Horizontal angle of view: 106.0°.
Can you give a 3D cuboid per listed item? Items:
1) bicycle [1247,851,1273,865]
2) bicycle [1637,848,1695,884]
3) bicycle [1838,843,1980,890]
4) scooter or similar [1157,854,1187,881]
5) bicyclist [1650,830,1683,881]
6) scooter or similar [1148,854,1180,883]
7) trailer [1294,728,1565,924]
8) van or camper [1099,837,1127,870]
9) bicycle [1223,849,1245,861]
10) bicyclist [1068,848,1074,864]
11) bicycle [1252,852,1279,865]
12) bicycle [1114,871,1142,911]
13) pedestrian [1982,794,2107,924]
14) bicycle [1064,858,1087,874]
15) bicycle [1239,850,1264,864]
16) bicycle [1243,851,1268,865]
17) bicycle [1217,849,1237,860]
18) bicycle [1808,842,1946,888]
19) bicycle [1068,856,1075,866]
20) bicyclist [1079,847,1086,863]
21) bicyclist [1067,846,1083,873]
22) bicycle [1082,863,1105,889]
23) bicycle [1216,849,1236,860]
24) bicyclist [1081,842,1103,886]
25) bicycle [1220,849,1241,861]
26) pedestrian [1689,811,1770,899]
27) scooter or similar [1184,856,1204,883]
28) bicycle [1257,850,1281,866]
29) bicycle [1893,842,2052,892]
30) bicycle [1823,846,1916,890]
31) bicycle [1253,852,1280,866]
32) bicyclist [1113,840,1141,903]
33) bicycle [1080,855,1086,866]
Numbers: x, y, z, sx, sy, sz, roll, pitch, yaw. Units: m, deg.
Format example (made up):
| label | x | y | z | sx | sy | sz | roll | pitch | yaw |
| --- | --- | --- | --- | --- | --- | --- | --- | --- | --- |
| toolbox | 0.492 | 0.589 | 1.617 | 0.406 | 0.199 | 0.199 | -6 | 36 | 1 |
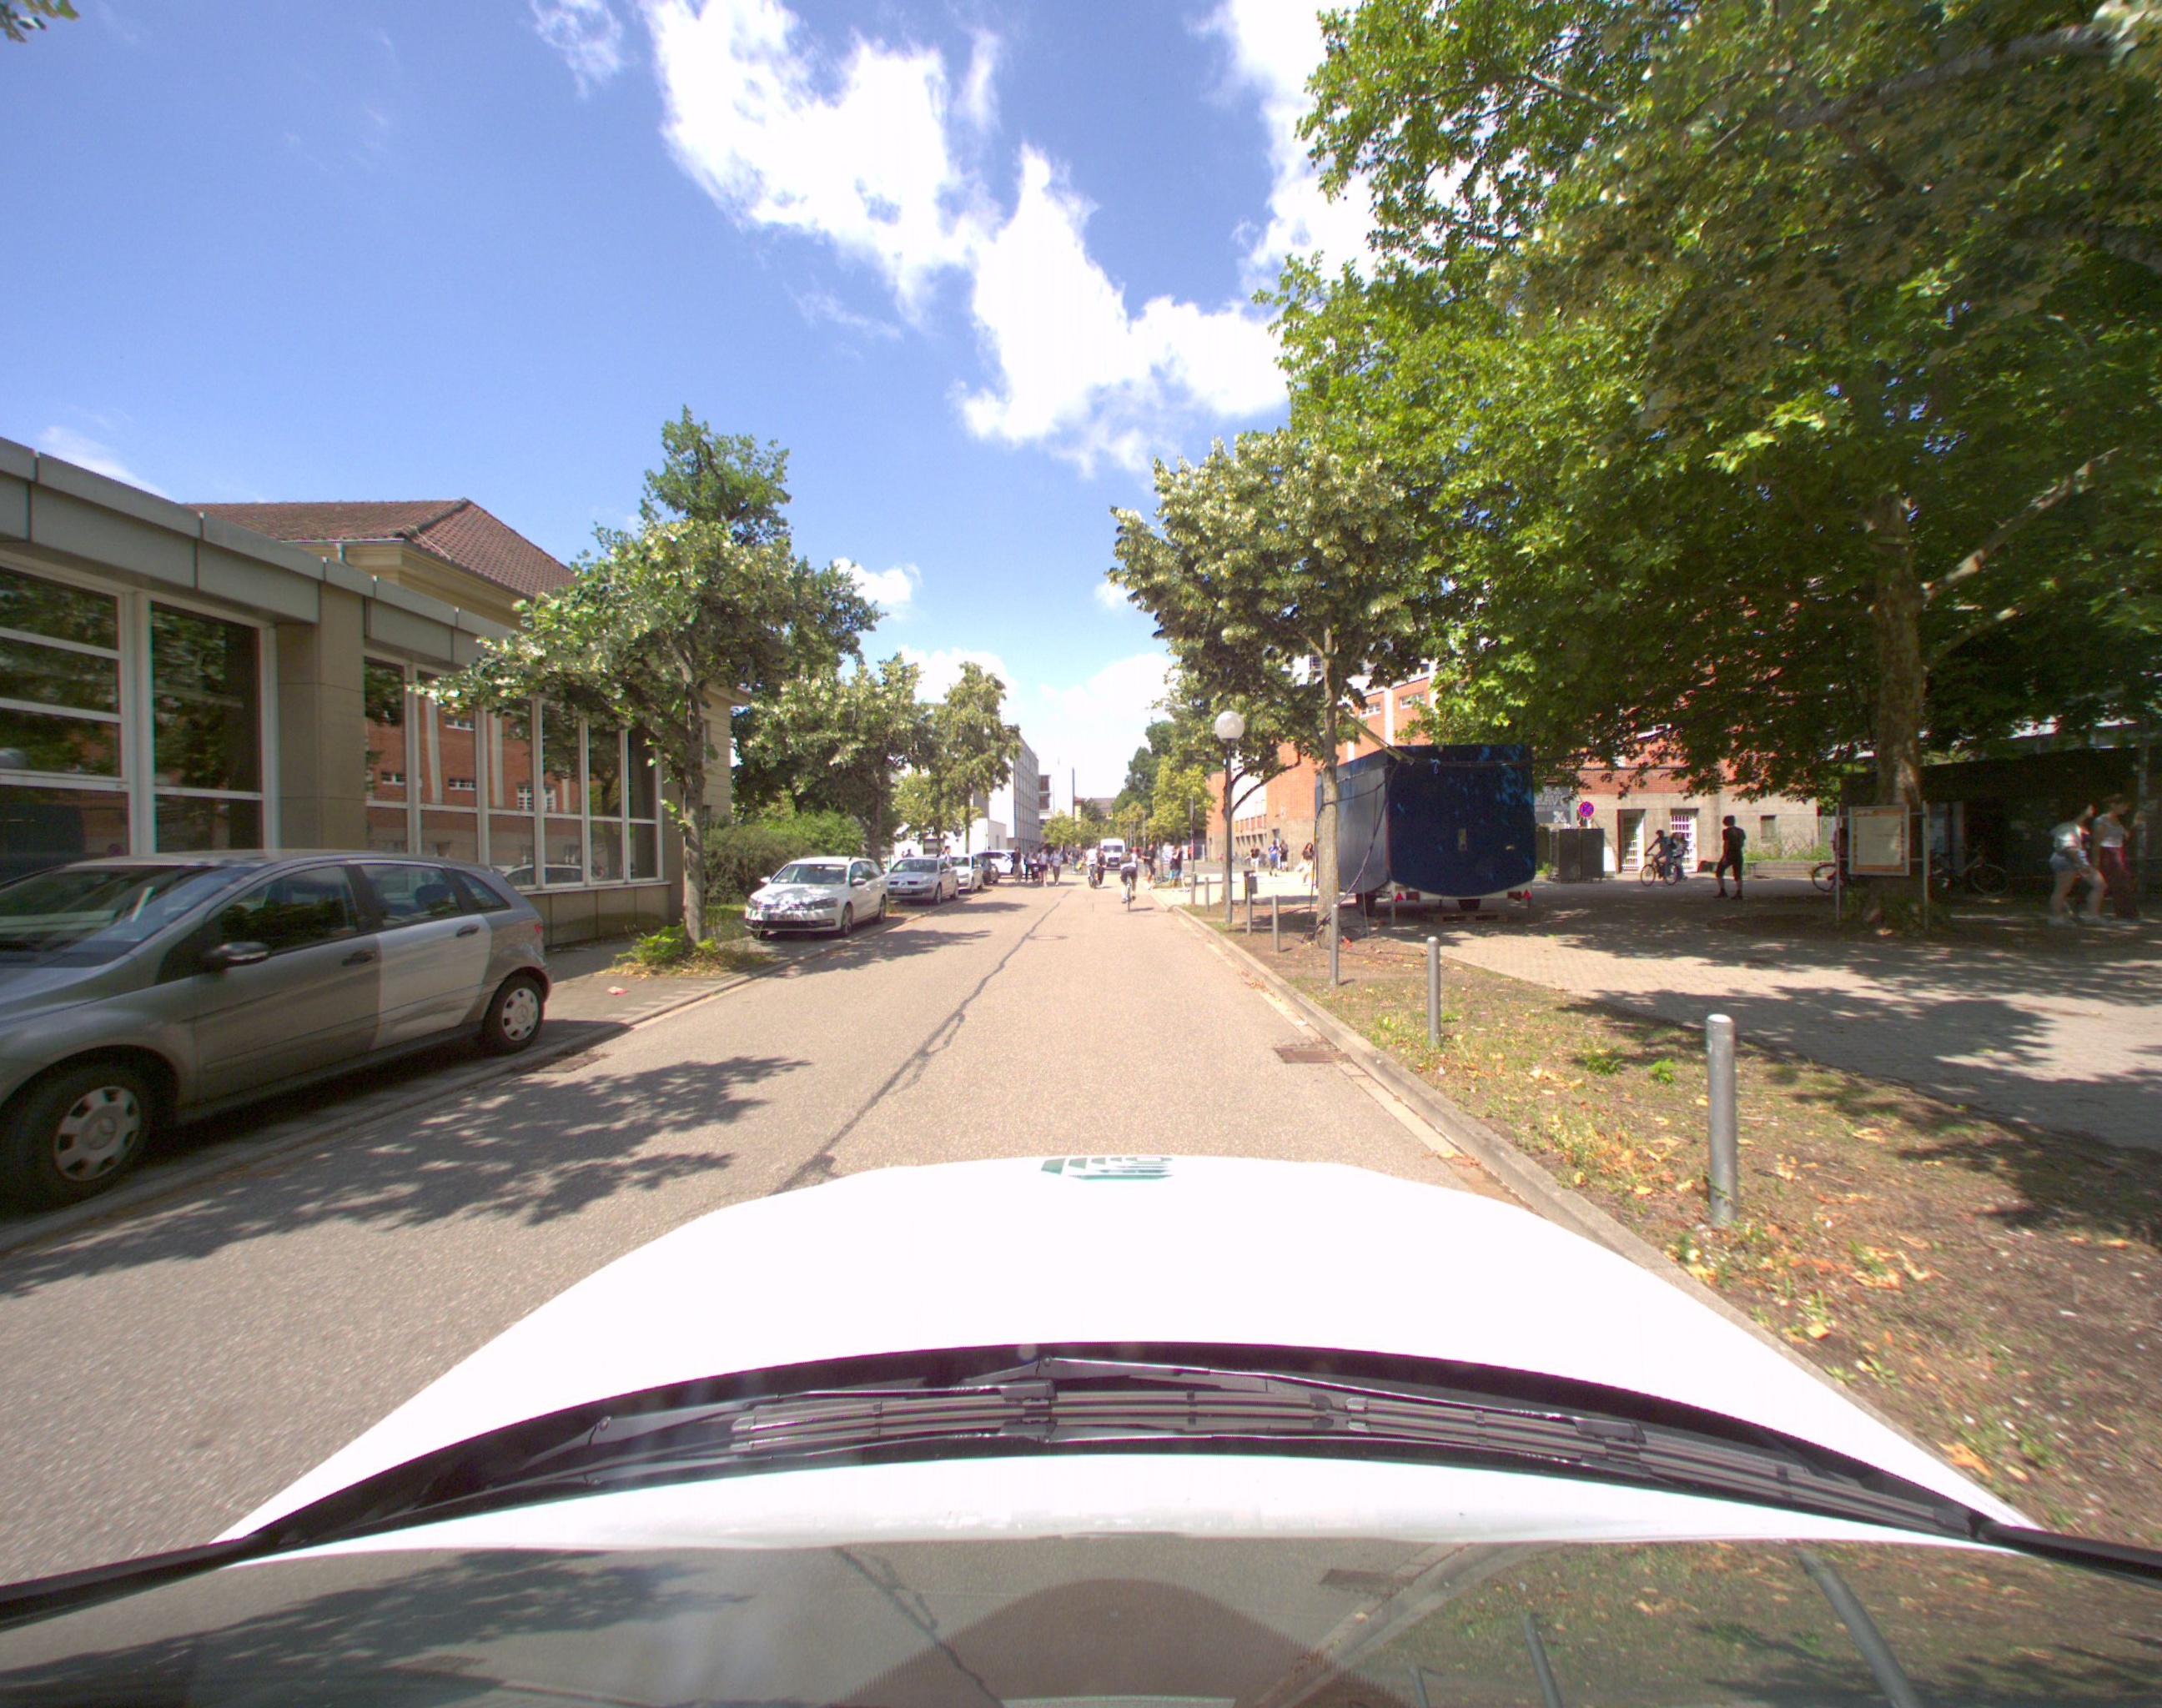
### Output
| label | x | y | z | sx | sy | sz | roll | pitch | yaw |
| --- | --- | --- | --- | --- | --- | --- | --- | --- | --- |
| bicycle | 13.403 | 0.311 | 60.887 | 1.803 | 0.912 | 0.560 | -3 | 0 | 1 |
| bicycle | 18.611 | 0.364 | 25.905 | 2.031 | 1.080 | 0.616 | -1 | 0 | -27 |
| bicycle | 19.789 | 0.302 | 19.503 | 2.382 | 1.072 | 0.785 | -1 | -1 | 8 |
| scooter or similar | 4.344 | 0.637 | 38.851 | 1.248 | 1.265 | 0.644 | -1 | 0 | 33 |
| bicyclist | 18.625 | 0.036 | 25.907 | 0.660 | 1.607 | 0.616 | -1 | 0 | -27 |
| scooter or similar | 3.804 | 0.668 | 37.272 | 1.248 | 1.265 | 0.655 | -1 | 0 | 33 |
| trailer | 6.426 | -0.462 | 16.240 | 2.682 | 3.051 | 6.258 | -2 | 0 | 1 |
| van or camper | 2.651 | -0.022 | 65.796 | 1.984 | 2.446 | 4.575 | -2 | -1 | 4 |
| bicycle | 13.838 | 0.113 | 73.716 | 1.803 | 0.985 | 0.560 | -3 | 0 | 1 |
| bicyclist | -1.083 | 0.210 | 88.291 | 0.641 | 1.601 | 0.909 | -2 | 0 | 0 |
| bicycle | 13.454 | 0.327 | 59.462 | 1.803 | 0.912 | 0.560 | -2 | 0 | 1 |
| bicycle | 1.262 | 0.984 | 22.013 | 0.704 | 0.993 | 1.912 | 0 | 0 | 3 |
| pedestrian | 12.926 | 0.063 | 10.947 | 0.694 | 1.661 | 0.788 | -2 | 0 | 2 |
| bicycle | -0.374 | 0.747 | 51.894 | 0.811 | 1.002 | 2.109 | 0 | -1 | -21 |
| bicycle | 13.509 | 0.248 | 64.455 | 1.803 | 0.985 | 0.560 | -3 | 0 | 1 |
| bicycle | 13.411 | 0.277 | 62.696 | 1.803 | 0.985 | 0.560 | -3 | 0 | 1 |
| bicycle | 13.917 | 0.078 | 77.588 | 1.803 | 0.985 | 0.560 | -3 | 0 | 1 |
| bicycle | 19.894 | 0.277 | 20.415 | 2.379 | 1.072 | 0.786 | -1 | -1 | 14 |
| bicycle | -1.055 | 0.749 | 88.225 | 0.675 | 0.965 | 2.003 | -1 | 0 | 0 |
| bicyclist | 0.204 | 0.130 | 89.023 | 0.665 | 1.681 | 0.993 | -2 | 0 | 0 |
| bicyclist | -0.383 | 0.353 | 51.928 | 0.811 | 1.756 | 0.687 | 0 | -1 | -21 |
| bicycle | 0.502 | 0.897 | 34.075 | 0.806 | 1.002 | 2.122 | -3 | 0 | -2 |
| bicycle | 14.018 | 0.068 | 78.550 | 1.803 | 0.985 | 0.560 | -3 | 0 | 1 |
| bicyclist | 0.447 | 0.420 | 34.467 | 0.769 | 1.756 | 0.848 | -4 | 0 | -2 |
| bicycle | 13.777 | 0.103 | 75.253 | 1.803 | 0.985 | 0.560 | -3 | 0 | 1 |
| pedestrian | 13.707 | 0.009 | 17.235 | 0.957 | 1.775 | 0.917 | -2 | 1 | -7 |
| scooter or similar | 5.067 | 0.677 | 36.469 | 0.643 | 1.160 | 1.270 | -2 | 0 | 17 |
| bicycle | 13.086 | 0.270 | 56.698 | 1.529 | 1.033 | 0.560 | -2 | 0 | 1 |
| bicycle | 20.012 | 0.287 | 18.342 | 2.379 | 1.072 | 0.786 | 0 | 0 | 13 |
| bicycle | 21.310 | 0.353 | 22.068 | 0.571 | 1.140 | 2.027 | -1 | 0 | 2 |
| bicycle | 13.351 | 0.356 | 58.628 | 1.803 | 0.912 | 0.560 | -2 | 0 | 1 |
| bicyclist | 1.251 | 0.470 | 22.185 | 0.714 | 1.662 | 1.096 | 0 | -1 | 3 |
| bicycle | 0.203 | 0.707 | 88.823 | 0.674 | 0.965 | 2.002 | 1 | -5 | 1 |
